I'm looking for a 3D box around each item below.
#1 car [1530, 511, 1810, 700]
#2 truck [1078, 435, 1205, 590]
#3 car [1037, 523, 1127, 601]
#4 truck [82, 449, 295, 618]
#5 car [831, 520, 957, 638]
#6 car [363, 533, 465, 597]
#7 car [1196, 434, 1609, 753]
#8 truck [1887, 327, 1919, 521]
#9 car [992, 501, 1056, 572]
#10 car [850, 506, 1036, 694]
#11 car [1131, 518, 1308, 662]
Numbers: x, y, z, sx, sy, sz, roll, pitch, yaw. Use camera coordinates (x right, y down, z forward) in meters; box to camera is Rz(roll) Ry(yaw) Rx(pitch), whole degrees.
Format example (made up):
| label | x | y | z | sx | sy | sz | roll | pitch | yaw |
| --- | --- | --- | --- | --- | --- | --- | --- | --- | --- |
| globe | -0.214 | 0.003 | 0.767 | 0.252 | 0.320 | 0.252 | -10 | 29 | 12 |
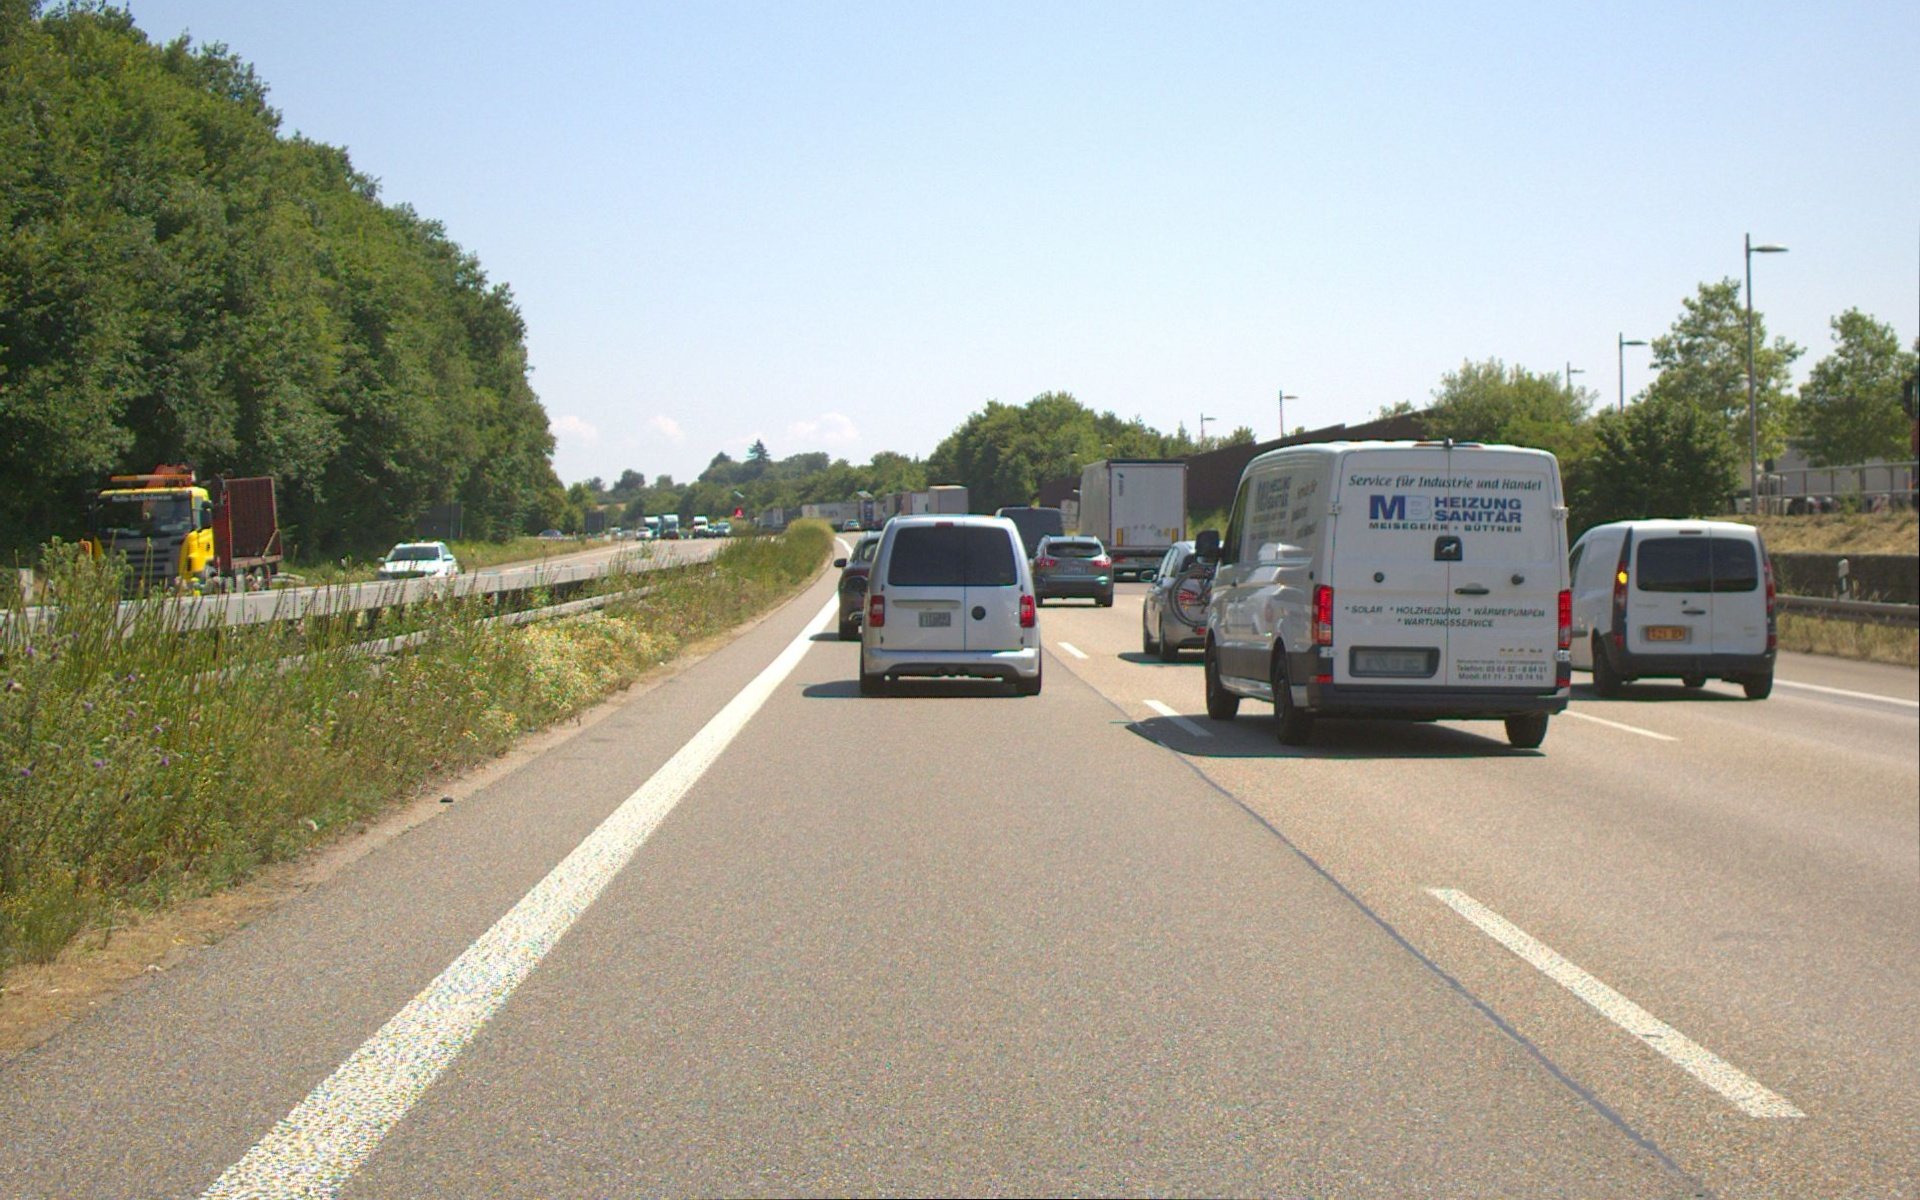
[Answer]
| label | x | y | z | sx | sy | sz | roll | pitch | yaw |
| --- | --- | --- | --- | --- | --- | --- | --- | --- | --- |
| car | 7.319 | 0.031 | 35.832 | 1.950 | 1.831 | 4.178 | -1 | 1 | -1 |
| truck | 6.128 | -2.930 | 118.452 | 3.788 | 4.982 | 12.518 | 1 | 1 | 1 |
| car | 2.718 | -0.855 | 77.251 | 1.902 | 1.666 | 4.088 | -1 | 1 | 1 |
| truck | -18.349 | -1.551 | 82.531 | 2.782 | 3.726 | 11.159 | 1 | 1 | -1 |
| car | -0.968 | -0.334 | 52.451 | 1.745 | 1.695 | 4.088 | -1 | 1 | 1 |
| car | -15.238 | -0.982 | 96.208 | 1.993 | 1.665 | 5.612 | -2 | 1 | -1 |
| car | 3.343 | -0.076 | 27.186 | 2.181 | 2.246 | 5.364 | 1 | 1 | -4 |
| truck | 20.356 | -3.490 | 68.431 | 2.602 | 3.814 | 4.000 | 1 | 1 | -1 |
| car | 1.749 | -1.739 | 94.734 | 1.674 | 1.885 | 4.088 | -1 | 1 | 1 |
| car | -0.135 | -0.022 | 34.773 | 1.745 | 1.758 | 4.088 | -1 | 1 | 1 |
| car | 3.273 | -0.141 | 44.048 | 1.976 | 1.727 | 4.088 | -1 | 1 | 1 |
